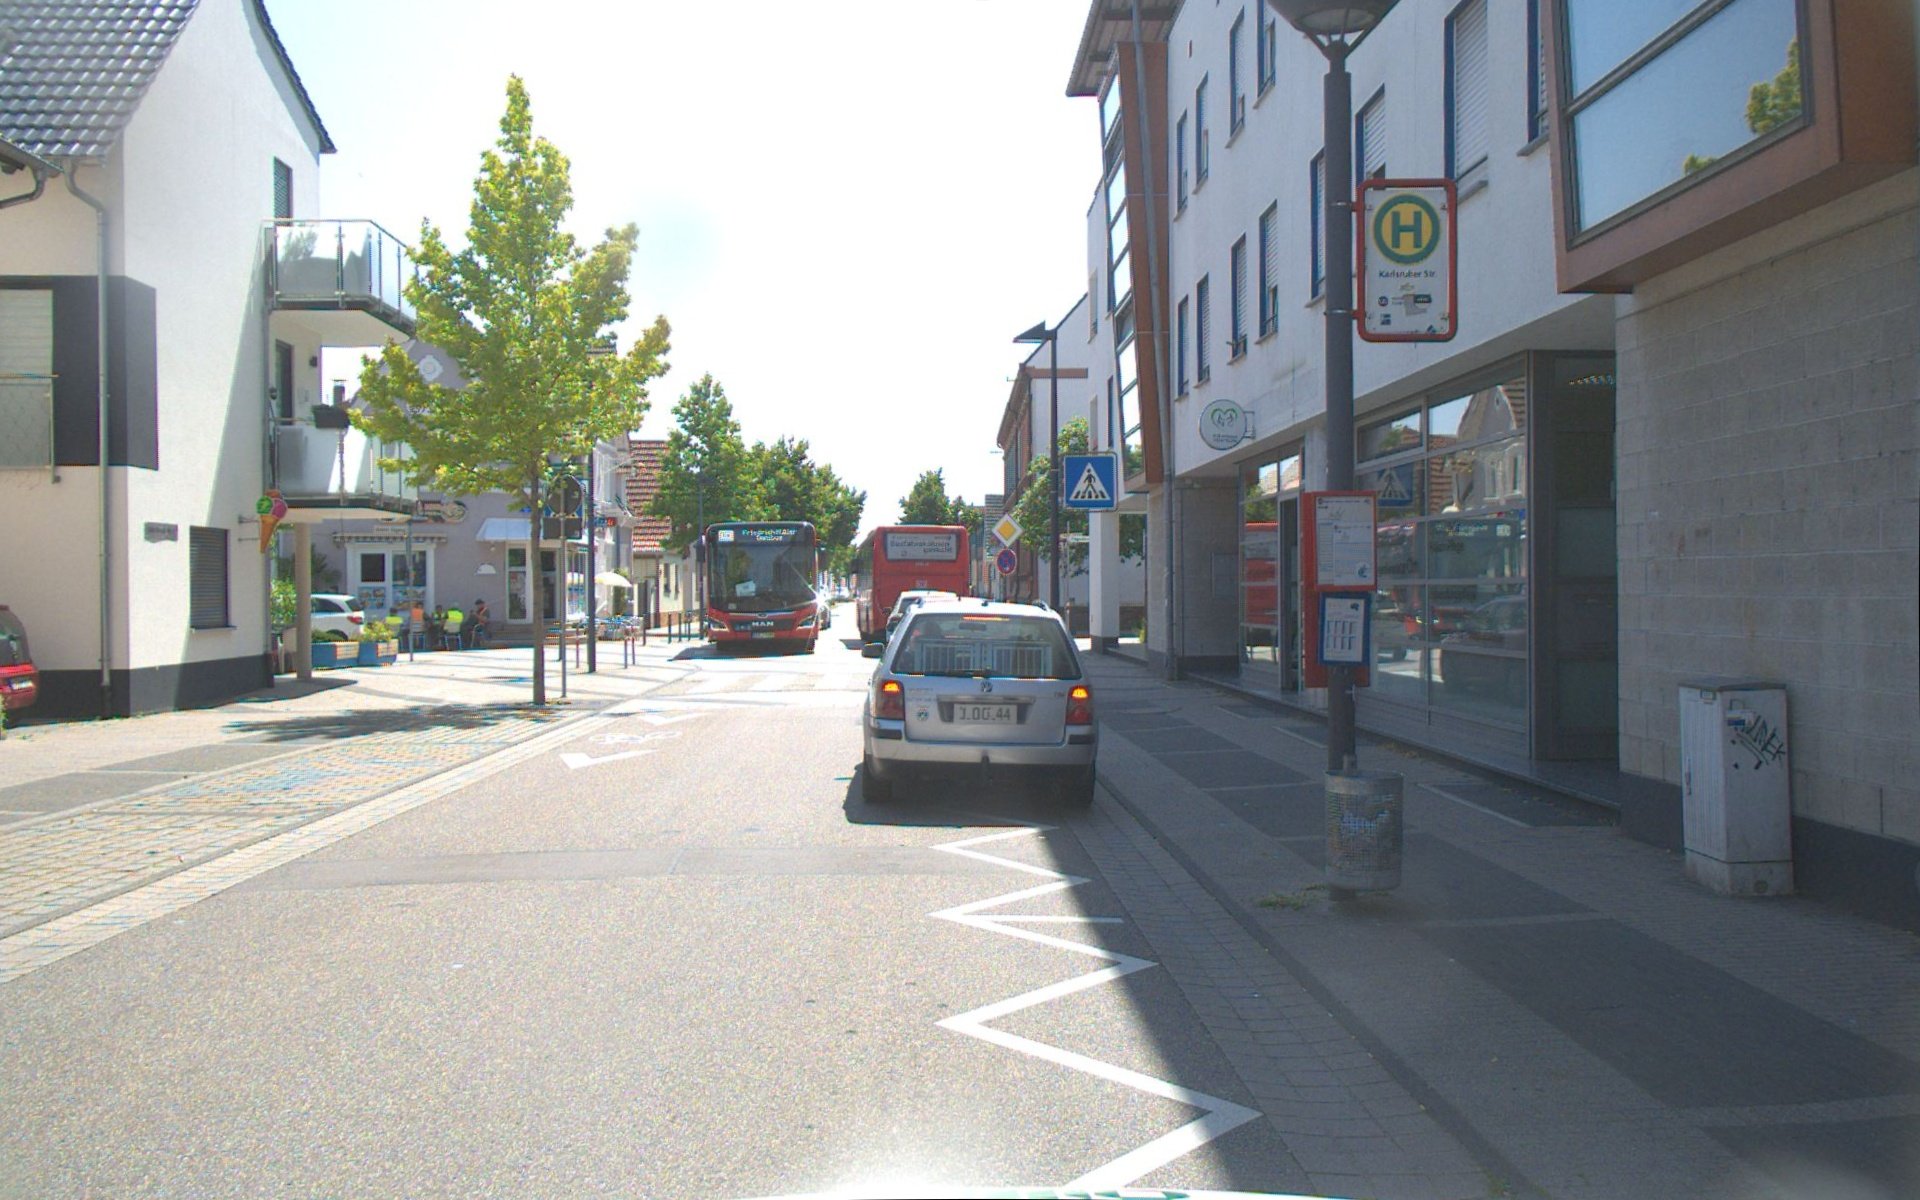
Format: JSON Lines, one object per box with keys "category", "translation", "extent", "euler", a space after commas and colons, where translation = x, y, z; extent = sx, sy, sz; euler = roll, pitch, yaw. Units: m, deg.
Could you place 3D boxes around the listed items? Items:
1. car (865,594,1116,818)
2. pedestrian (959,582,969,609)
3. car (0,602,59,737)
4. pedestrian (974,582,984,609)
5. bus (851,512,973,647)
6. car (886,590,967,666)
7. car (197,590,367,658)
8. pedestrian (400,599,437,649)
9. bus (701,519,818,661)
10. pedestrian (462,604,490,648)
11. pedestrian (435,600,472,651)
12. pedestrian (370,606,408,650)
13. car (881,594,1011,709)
{"category": "car", "translation": [0.137, 0.702, 12.877], "extent": [1.643, 1.455, 3.678], "euler": [1, 0, -2]}
{"category": "pedestrian", "translation": [0.248, -0.290, 105.231], "extent": [0.594, 1.696, 0.789], "euler": [0, 0, -4]}
{"category": "car", "translation": [-12.187, 0.785, 18.756], "extent": [3.055, 1.468, 1.584], "euler": [-1, 0, -8]}
{"category": "pedestrian", "translation": [1.193, -0.310, 104.177], "extent": [0.594, 1.696, 0.789], "euler": [0, 0, -4]}
{"category": "bus", "translation": [-1.603, -0.503, 47.559], "extent": [2.687, 3.356, 12.690], "euler": [0, 0, -5]}
{"category": "car", "translation": [-0.697, 0.544, 34.381], "extent": [1.561, 1.455, 3.678], "euler": [1, 0, -1]}
{"category": "car", "translation": [-17.112, 0.578, 41.910], "extent": [3.856, 1.572, 1.510], "euler": [-1, 2, -19]}
{"category": "pedestrian", "translation": [-14.543, 0.641, 44.441], "extent": [0.776, 1.311, 0.631], "euler": [1, 0, 45]}
{"category": "bus", "translation": [-5.507, -0.270, 46.052], "extent": [2.618, 3.178, 17.781], "euler": [0, 0, -6]}
{"category": "pedestrian", "translation": [-13.285, 0.713, 45.442], "extent": [0.610, 1.199, 0.695], "euler": [0, 0, -6]}
{"category": "pedestrian", "translation": [-13.519, 0.676, 44.142], "extent": [0.776, 1.311, 0.631], "euler": [1, 0, 45]}
{"category": "pedestrian", "translation": [-15.114, 0.744, 43.783], "extent": [0.776, 1.135, 0.631], "euler": [2, 0, 45]}
{"category": "car", "translation": [-0.243, 0.644, 22.839], "extent": [1.643, 1.455, 3.678], "euler": [0, 0, -2]}
